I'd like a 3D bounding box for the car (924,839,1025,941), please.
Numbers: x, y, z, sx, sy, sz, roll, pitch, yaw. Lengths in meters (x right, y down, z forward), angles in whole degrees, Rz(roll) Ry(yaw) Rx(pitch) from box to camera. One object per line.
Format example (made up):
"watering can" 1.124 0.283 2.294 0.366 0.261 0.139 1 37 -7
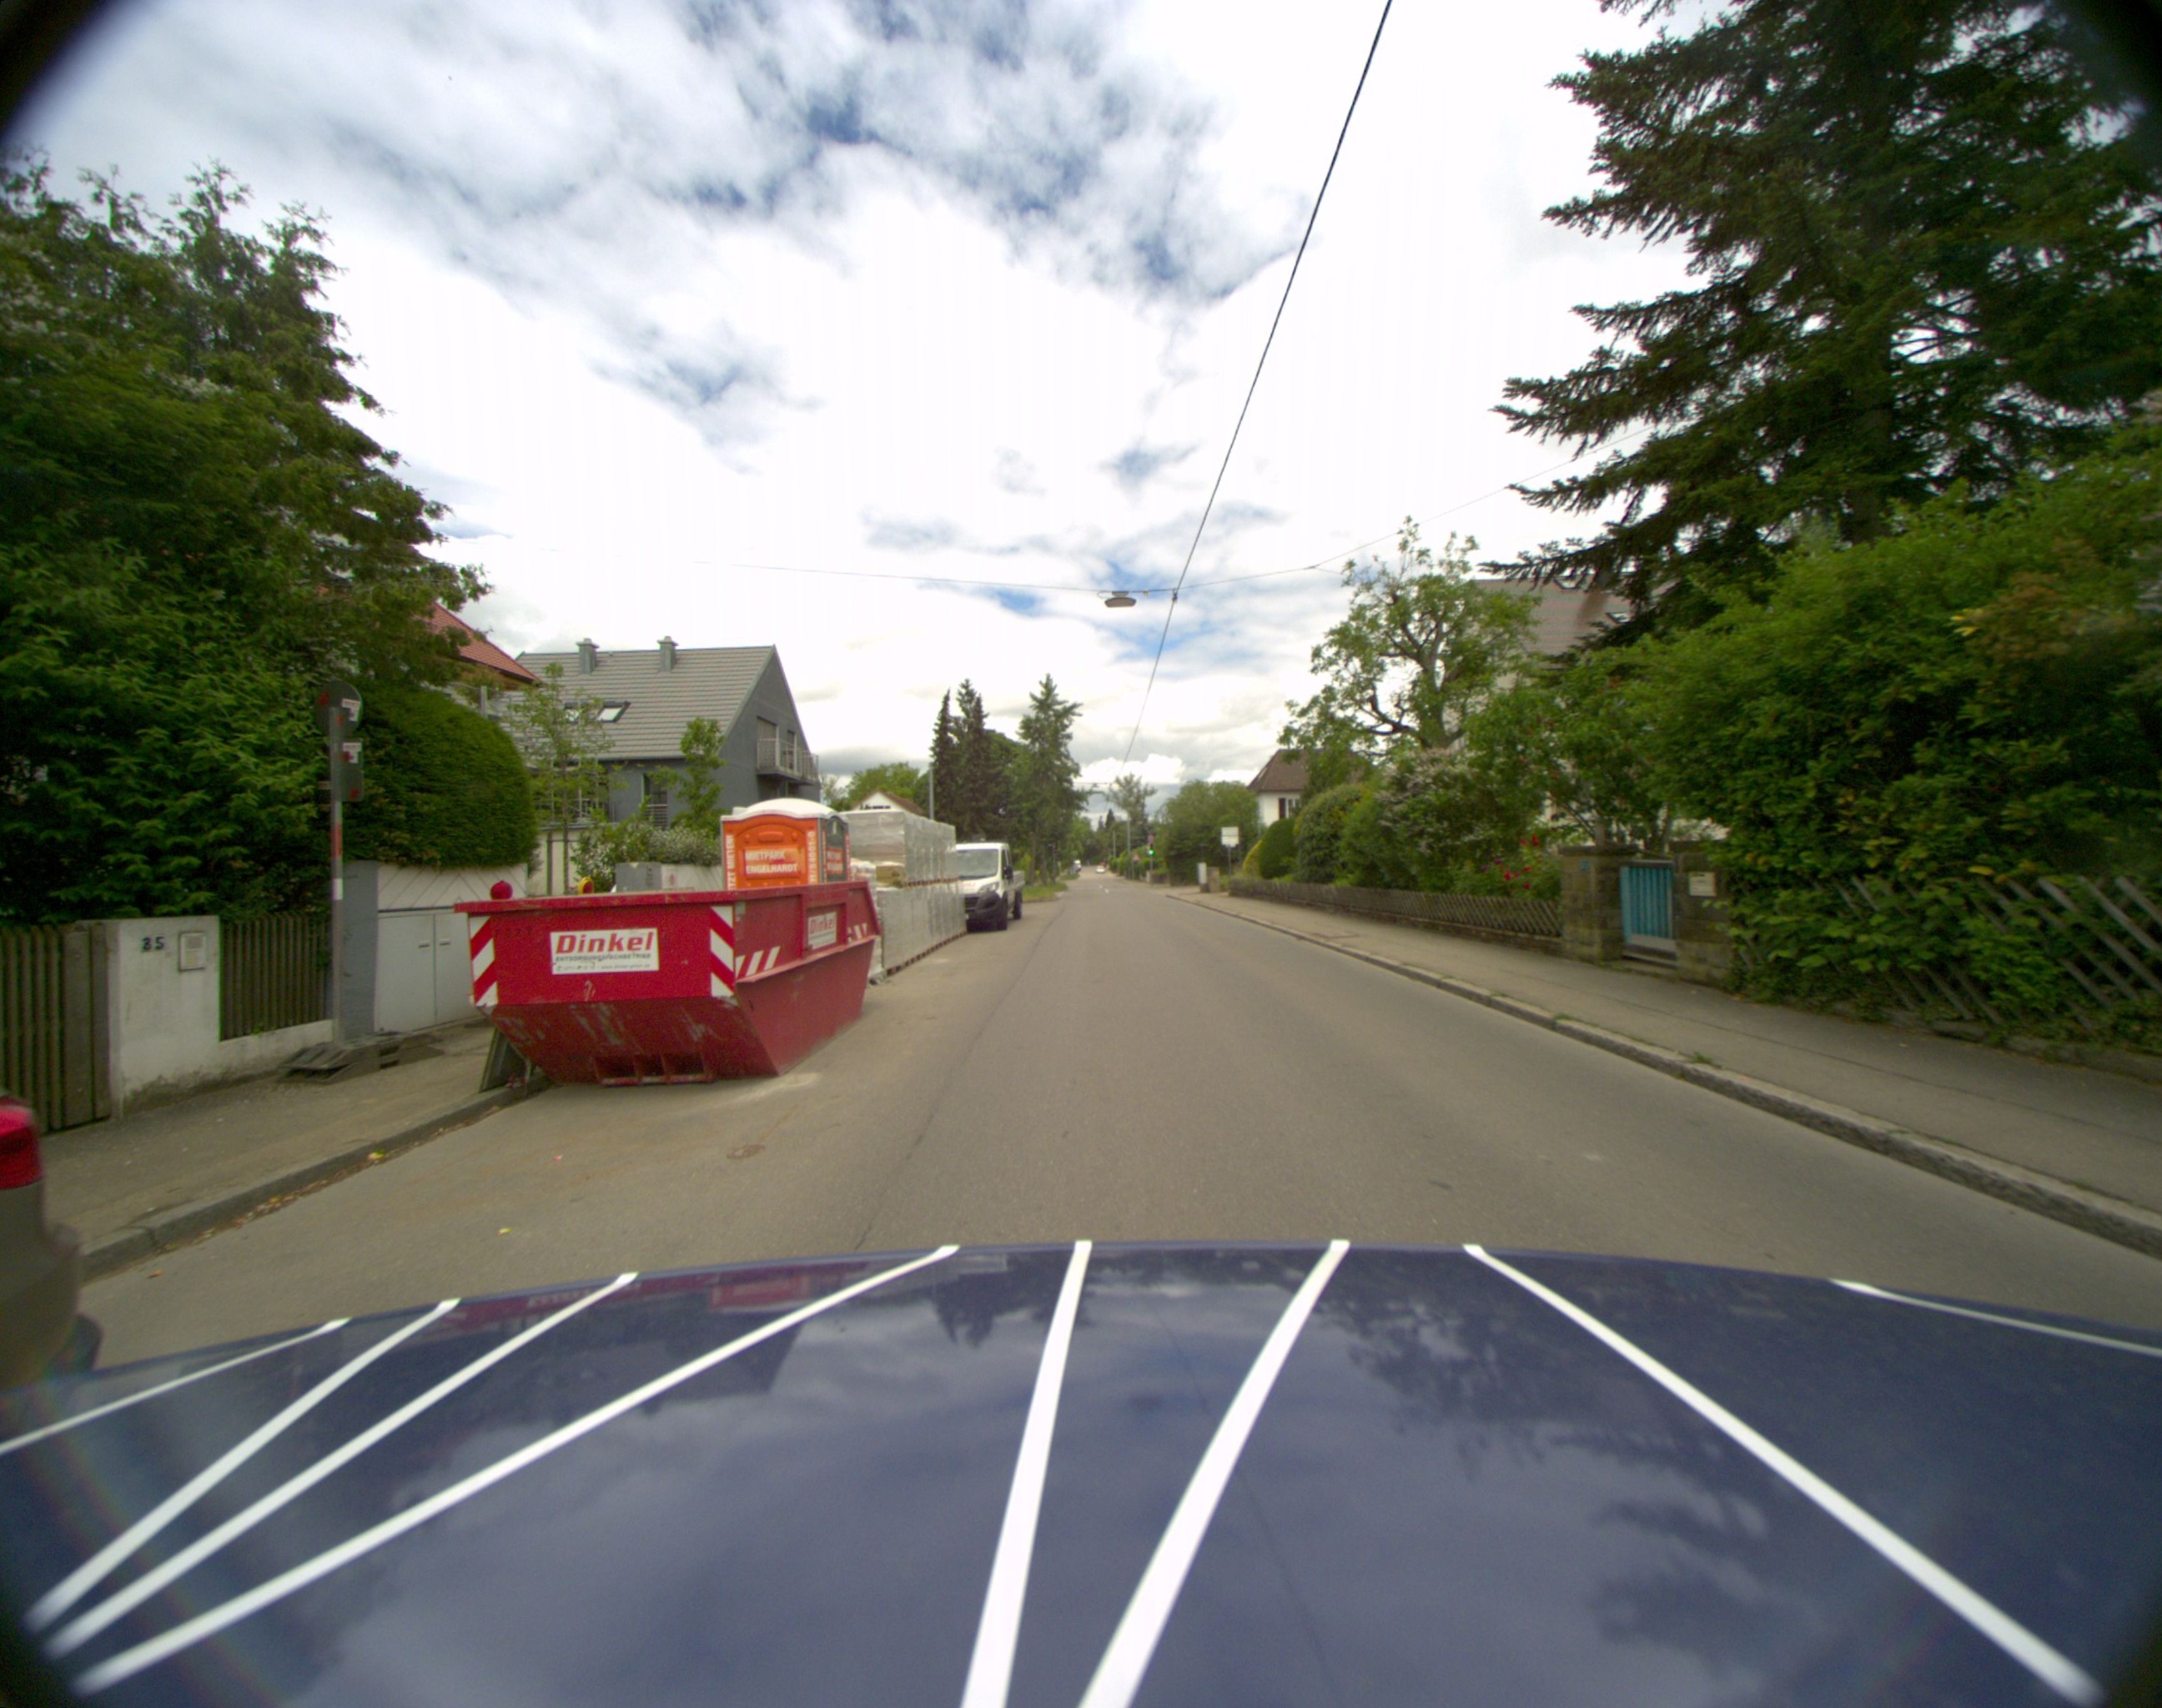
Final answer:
"car" -2.608 0.792 19.891 1.854 2.211 5.366 -3 1 -1
